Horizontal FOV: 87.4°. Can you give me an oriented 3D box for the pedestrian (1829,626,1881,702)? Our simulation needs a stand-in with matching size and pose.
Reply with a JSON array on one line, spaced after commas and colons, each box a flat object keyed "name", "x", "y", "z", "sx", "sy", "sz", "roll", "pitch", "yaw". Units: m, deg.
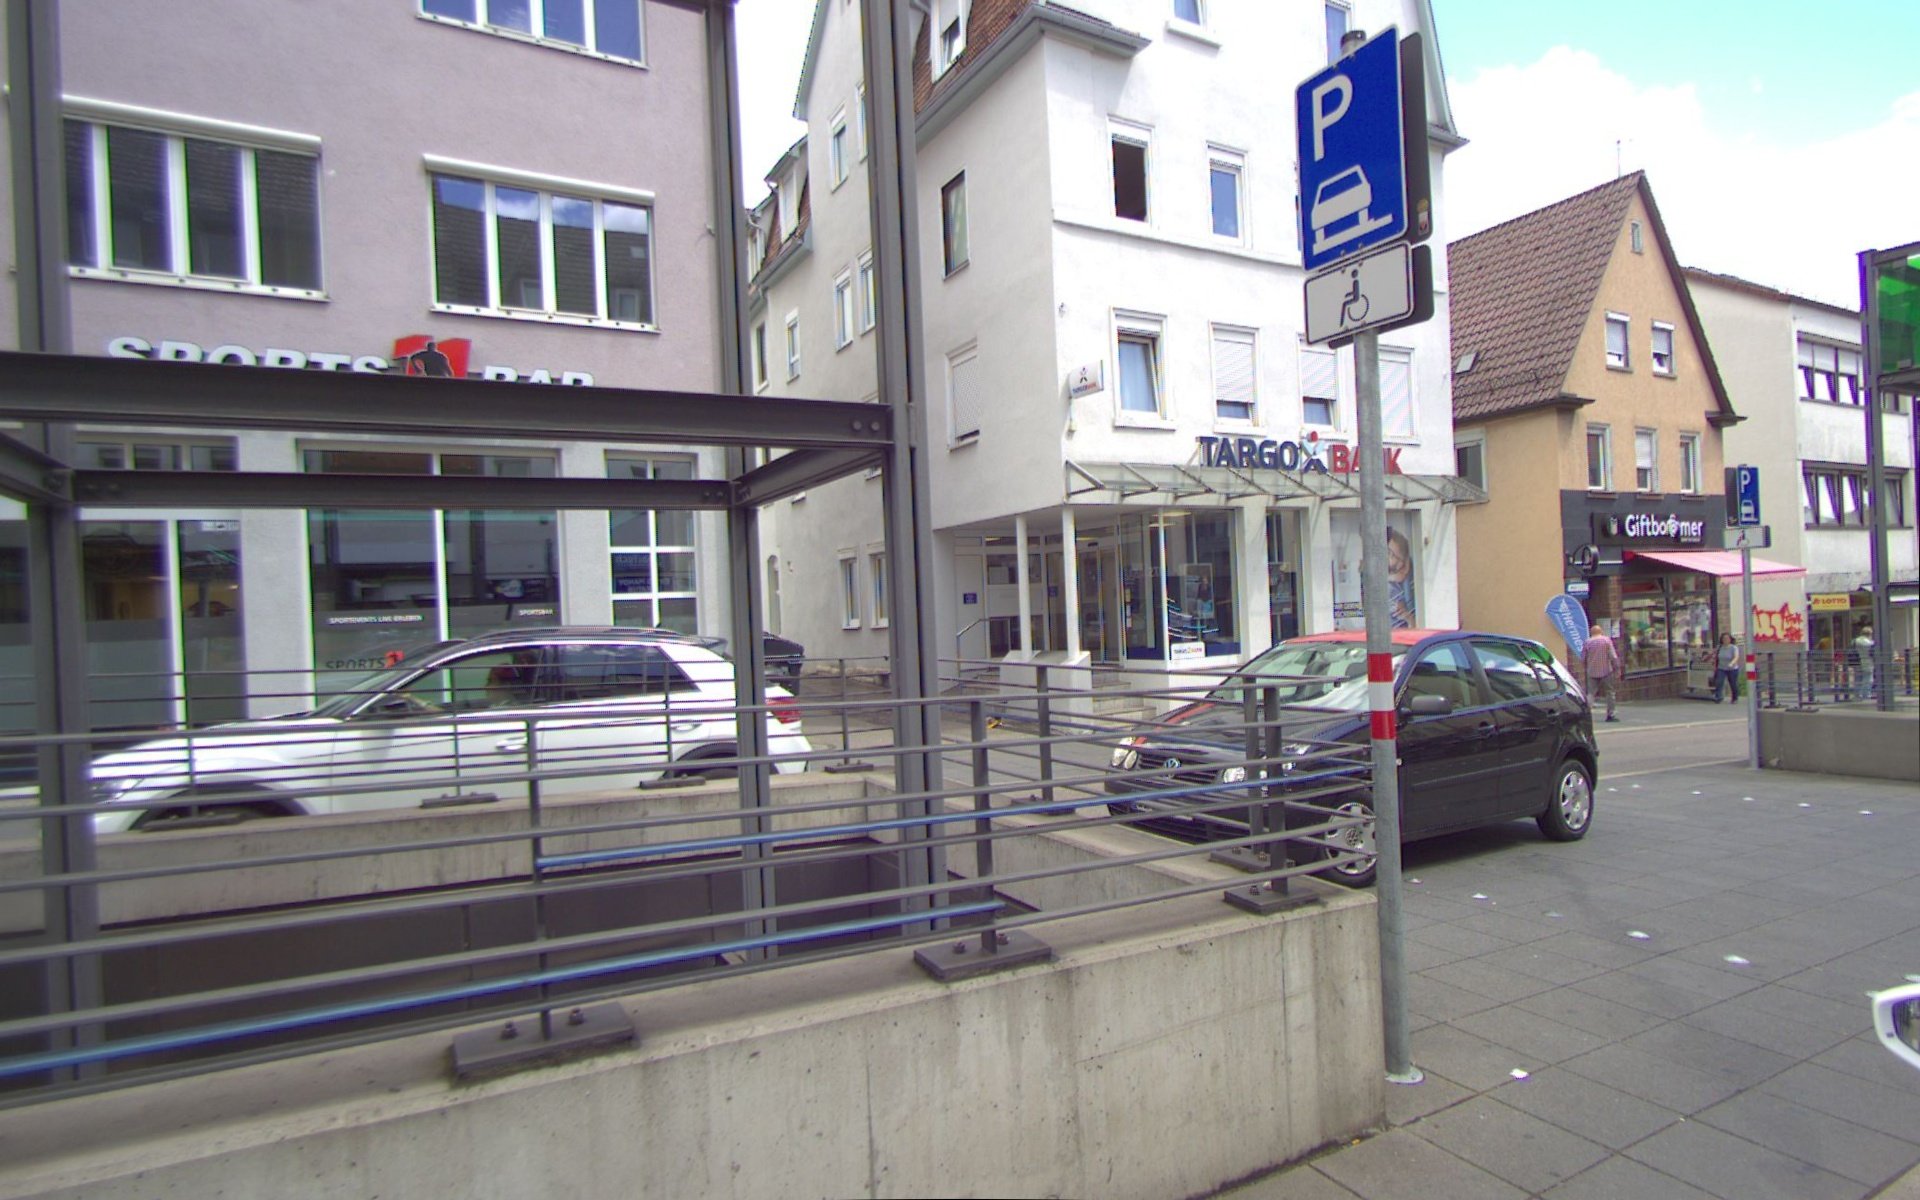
[{"name": "pedestrian", "x": 20.657, "y": 1.472, "z": 23.188, "sx": 0.653, "sy": 1.711, "sz": 0.646, "roll": 1, "pitch": -1, "yaw": 10}]

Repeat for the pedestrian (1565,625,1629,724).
[{"name": "pedestrian", "x": 11.361, "y": 1.310, "z": 17.925, "sx": 0.816, "sy": 1.711, "sz": 0.637, "roll": 1, "pitch": -1, "yaw": -26}]

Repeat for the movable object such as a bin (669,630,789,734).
[{"name": "movable object such as a bin", "x": -3.354, "y": 1.139, "z": 14.543, "sx": 1.391, "sy": 1.394, "sz": 1.277, "roll": 1, "pitch": -1, "yaw": -30}]

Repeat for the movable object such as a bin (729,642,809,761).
[{"name": "movable object such as a bin", "x": -2.378, "y": 1.235, "z": 12.480, "sx": 0.798, "sy": 1.394, "sz": 0.686, "roll": 1, "pitch": -1, "yaw": -30}]

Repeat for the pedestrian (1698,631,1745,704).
[{"name": "pedestrian", "x": 16.918, "y": 1.493, "z": 22.313, "sx": 0.708, "sy": 1.594, "sz": 0.562, "roll": 1, "pitch": -3, "yaw": -30}]

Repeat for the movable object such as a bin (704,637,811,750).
[{"name": "movable object such as a bin", "x": -2.718, "y": 1.204, "z": 13.417, "sx": 1.055, "sy": 1.394, "sz": 1.277, "roll": 1, "pitch": -1, "yaw": -30}]

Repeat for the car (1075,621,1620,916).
[{"name": "car", "x": 2.749, "y": 0.914, "z": 6.840, "sx": 3.815, "sy": 1.495, "sz": 1.559, "roll": 1, "pitch": -1, "yaw": -33}]

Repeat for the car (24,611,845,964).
[{"name": "car", "x": -2.943, "y": 0.912, "z": 6.380, "sx": 4.074, "sy": 1.592, "sz": 1.671, "roll": 1, "pitch": 0, "yaw": -31}]

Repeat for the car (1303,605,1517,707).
[{"name": "car", "x": 10.055, "y": 1.180, "z": 22.761, "sx": 1.861, "sy": 1.898, "sz": 4.050, "roll": 1, "pitch": 2, "yaw": -30}]
